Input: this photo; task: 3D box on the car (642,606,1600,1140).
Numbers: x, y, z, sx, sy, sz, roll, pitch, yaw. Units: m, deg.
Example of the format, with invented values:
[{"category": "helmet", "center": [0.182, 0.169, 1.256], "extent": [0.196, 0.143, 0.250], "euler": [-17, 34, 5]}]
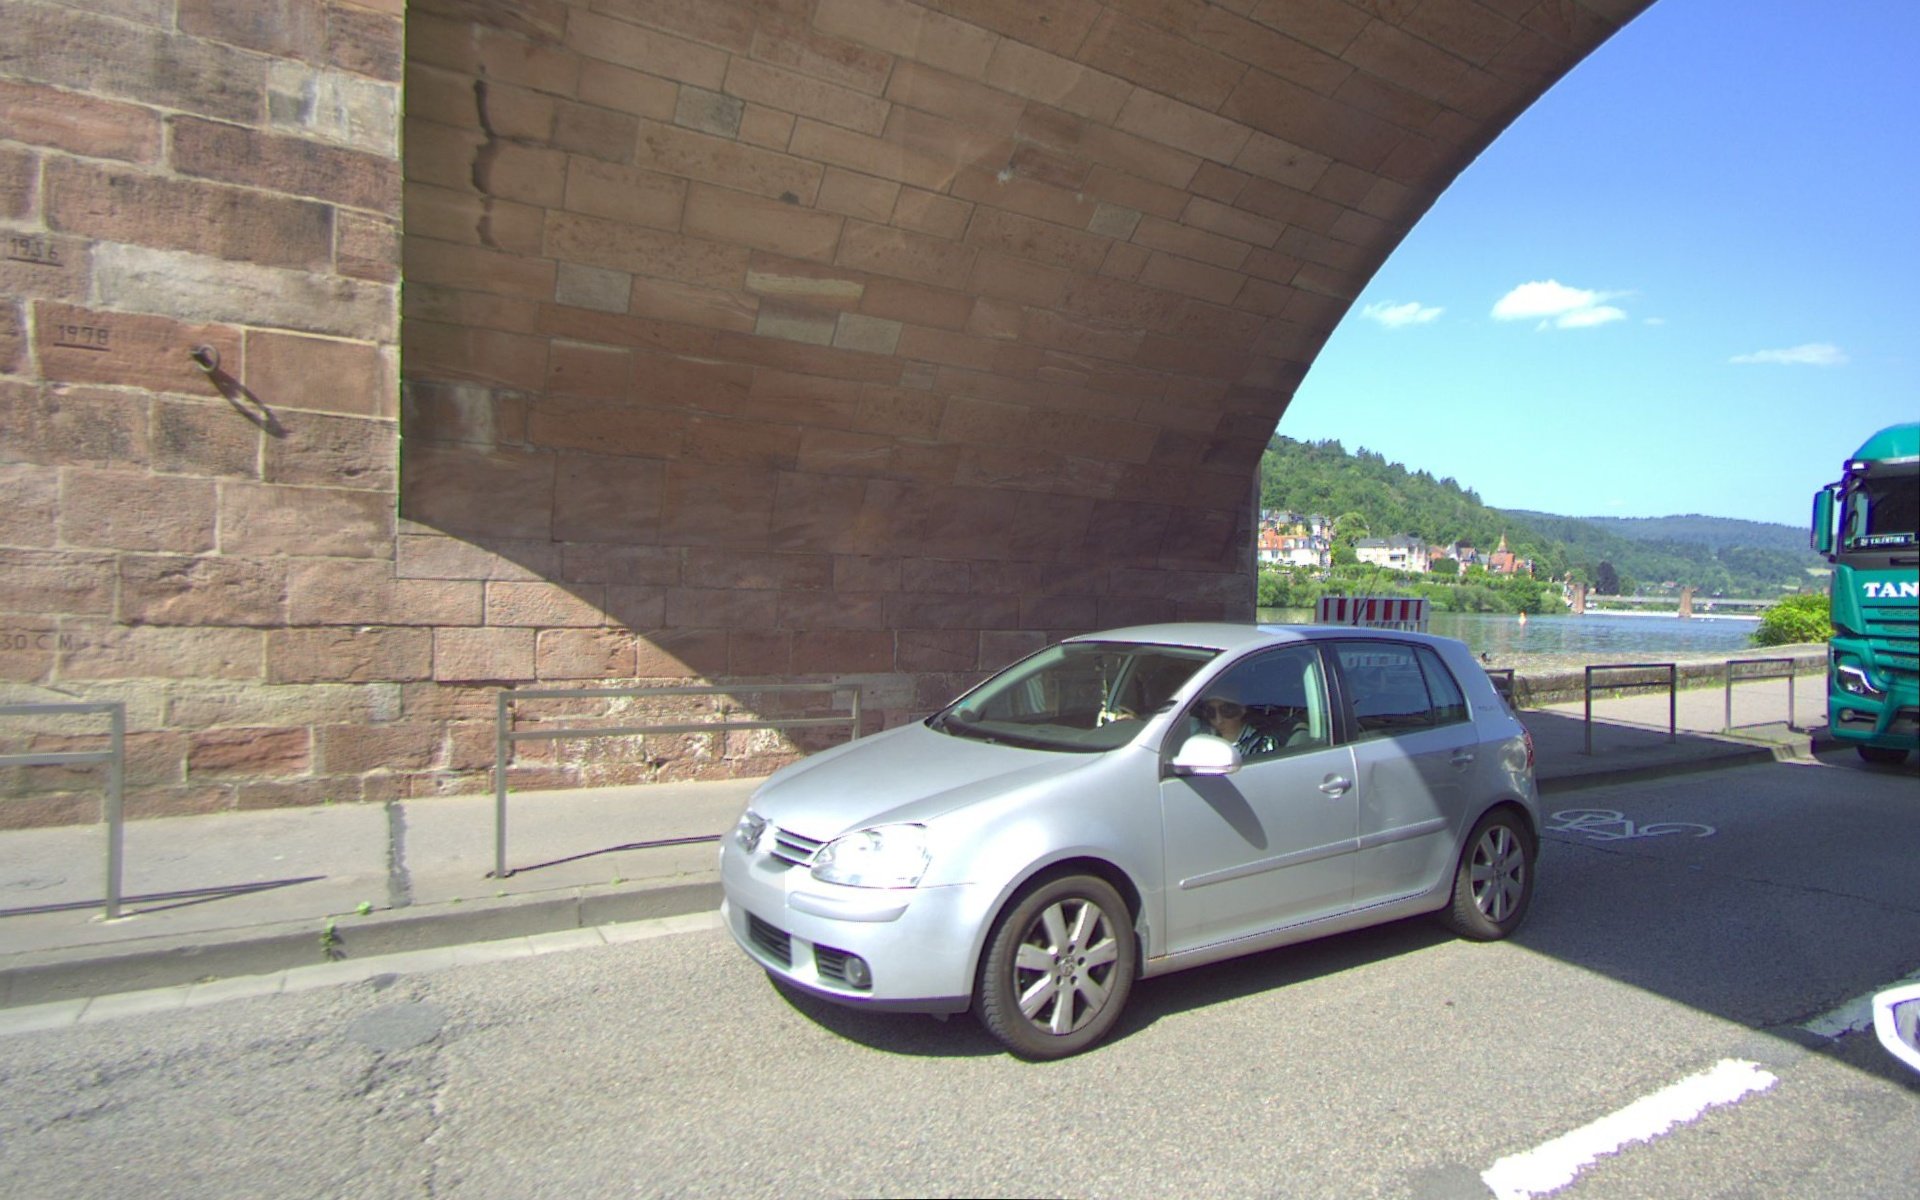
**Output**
[{"category": "car", "center": [0.956, 0.808, 4.649], "extent": [4.351, 1.455, 1.714], "euler": [2, -2, -32]}]

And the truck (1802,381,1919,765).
[{"category": "truck", "center": [12.242, -0.258, 11.320], "extent": [6.178, 3.798, 2.509], "euler": [0, -1, -33]}]

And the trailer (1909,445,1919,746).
[{"category": "trailer", "center": [17.112, -0.001, 14.504], "extent": [11.409, 3.692, 2.508], "euler": [1, -1, -34]}]
